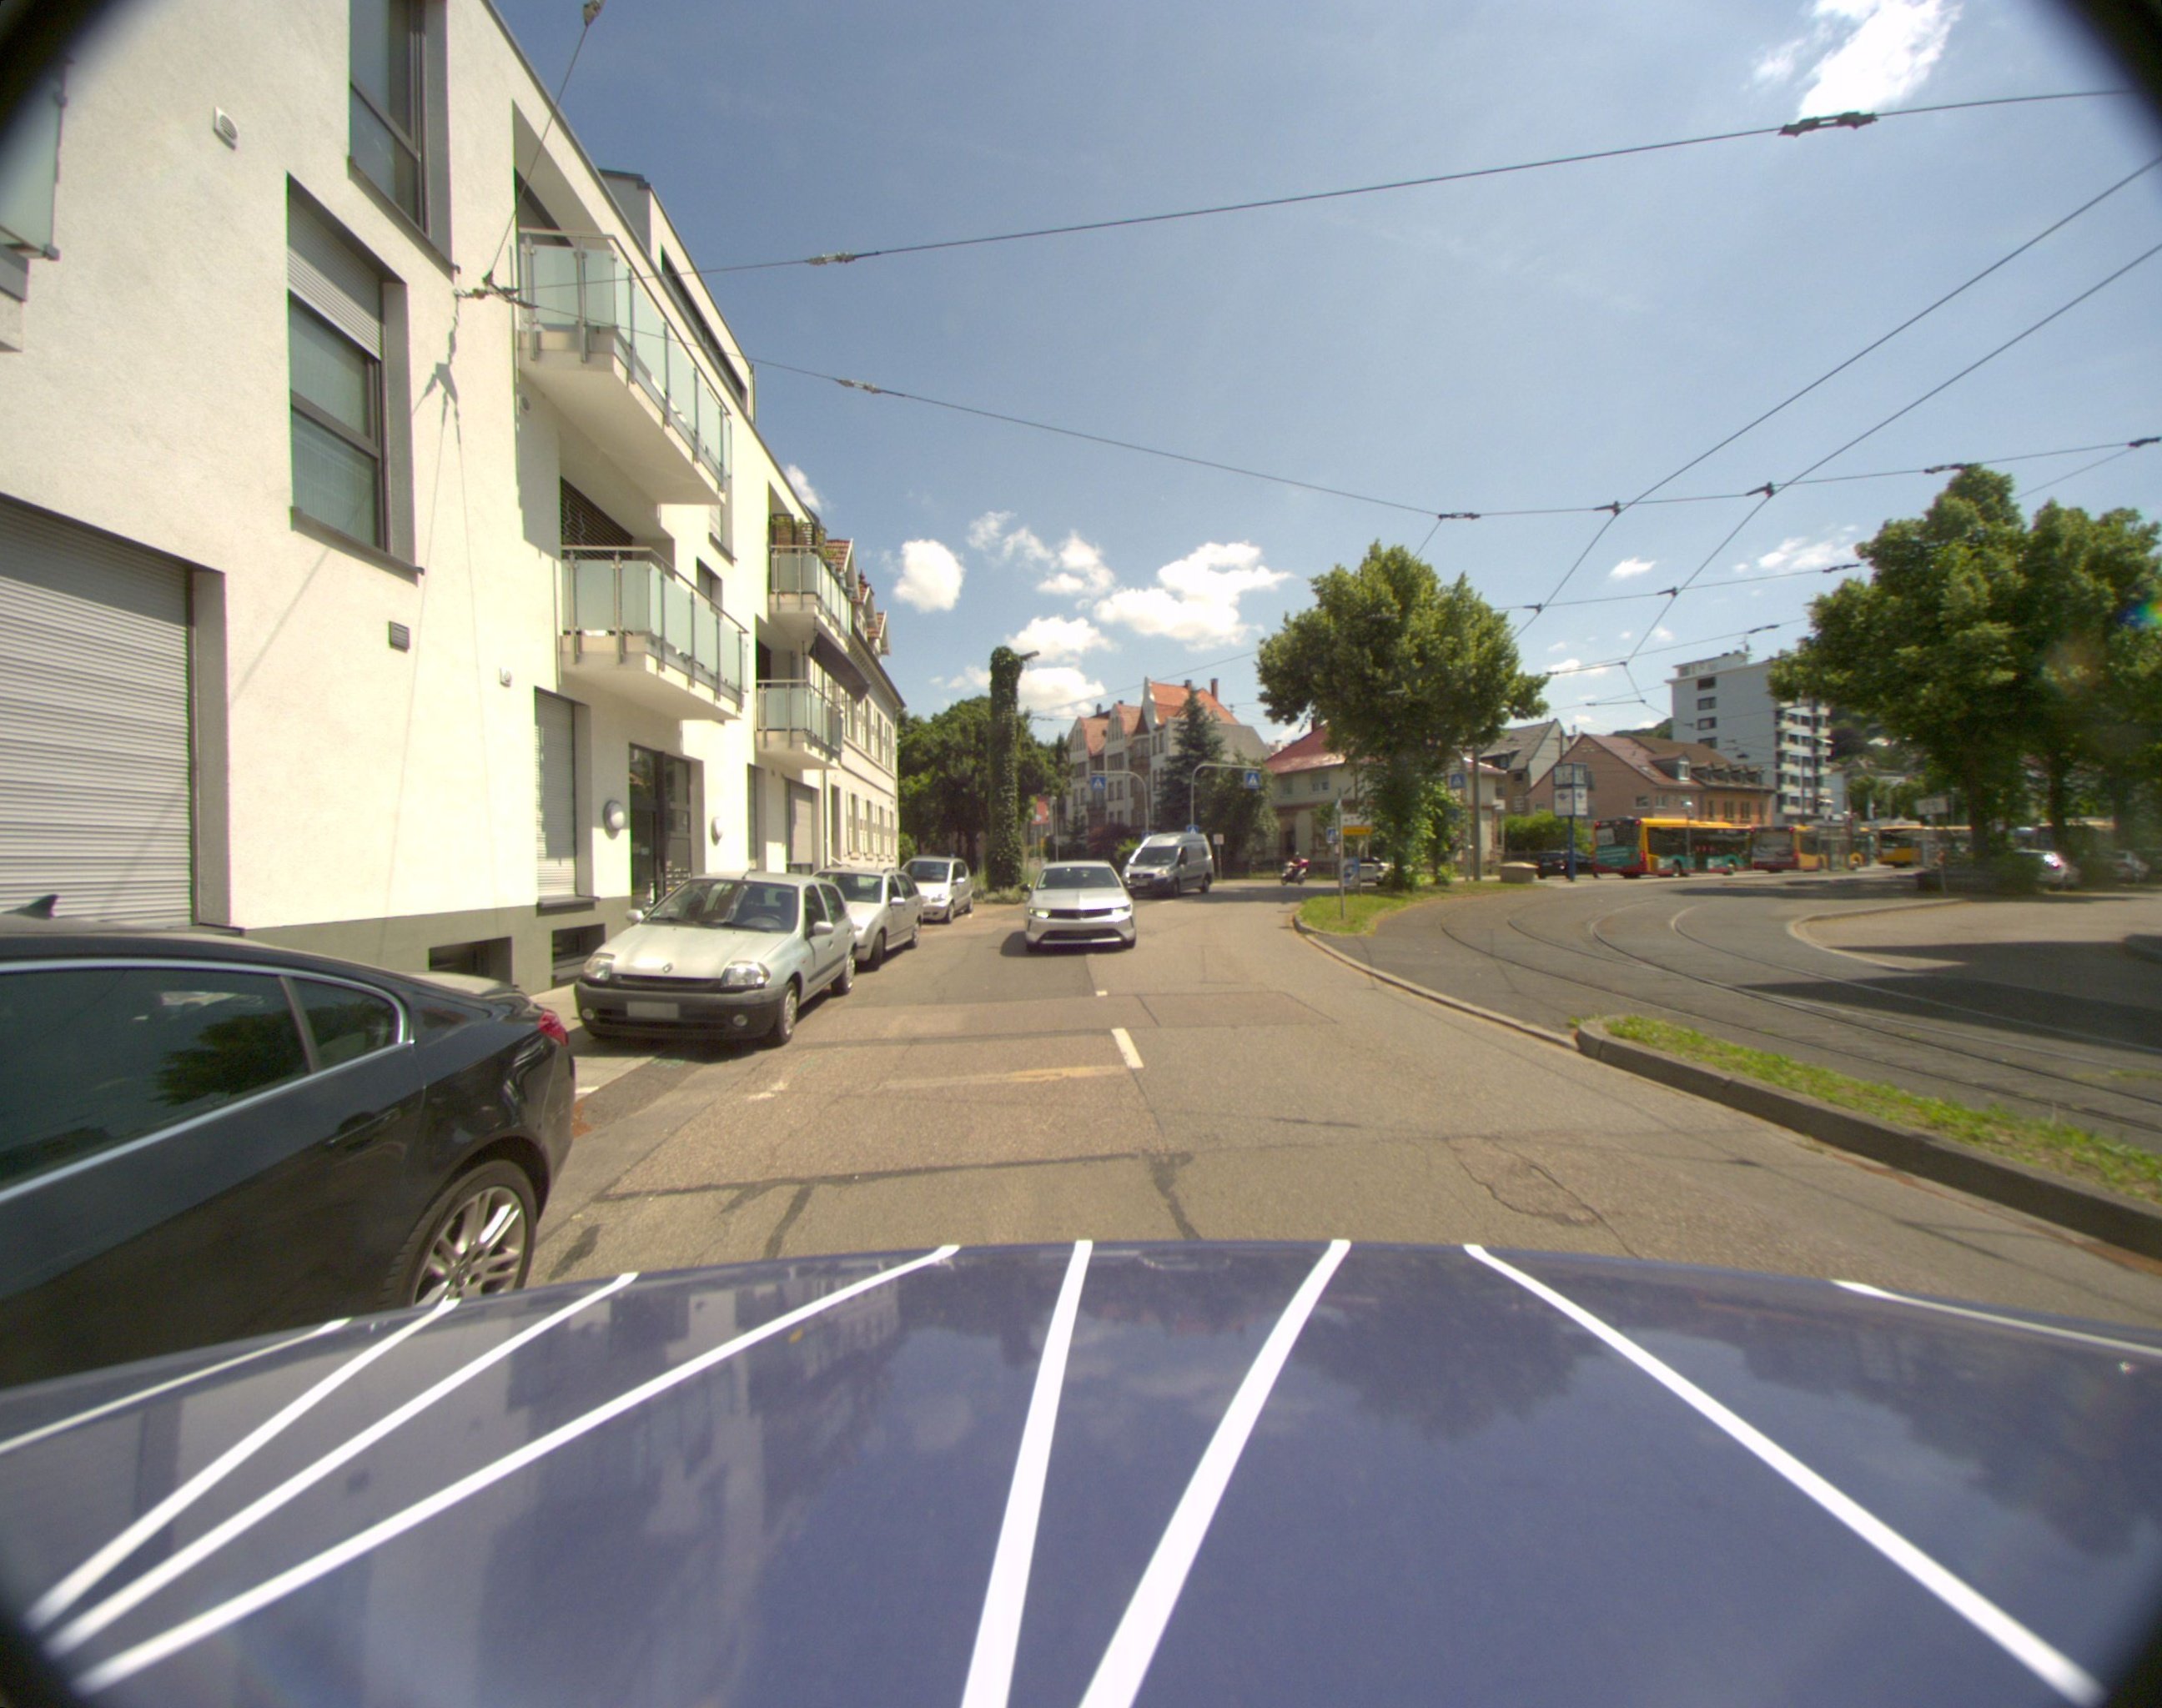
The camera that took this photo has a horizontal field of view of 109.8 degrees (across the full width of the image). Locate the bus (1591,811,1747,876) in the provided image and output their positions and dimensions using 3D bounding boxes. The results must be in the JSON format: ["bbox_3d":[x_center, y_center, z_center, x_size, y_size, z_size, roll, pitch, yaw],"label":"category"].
[{"bbox_3d":[32.439,-0.518,41.695,10.875,3.277,2.702,0,-1,-29],"label":"bus"}]

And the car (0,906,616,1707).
[{"bbox_3d":[-2.569,1.001,0.732,1.805,1.500,4.544,2,0,-6],"label":"car"}]

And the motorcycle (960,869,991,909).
[{"bbox_3d":[-3.881,1.264,28.227,0.802,1.344,2.338,-1,0,0],"label":"motorcycle"}]

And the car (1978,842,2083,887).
[{"bbox_3d":[34.402,0.356,27.517,3.962,1.473,1.840,-1,0,-30],"label":"car"}]

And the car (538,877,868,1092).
[{"bbox_3d":[-3.314,1.037,7.493,1.597,1.425,3.705,3,0,-5],"label":"car"}]

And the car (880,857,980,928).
[{"bbox_3d":[-3.885,0.933,20.145,1.731,1.601,3.800,1,1,2],"label":"car"}]

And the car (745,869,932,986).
[{"bbox_3d":[-3.690,1.042,12.349,1.731,1.425,4.042,3,0,-1],"label":"car"}]

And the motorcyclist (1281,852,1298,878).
[{"bbox_3d":[9.845,0.515,35.833,0.555,1.236,0.540,-1,0,-19],"label":"motorcyclist"}]

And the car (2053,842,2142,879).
[{"bbox_3d":[43.928,0.267,32.824,4.265,1.473,1.840,-1,0,-30],"label":"car"}]

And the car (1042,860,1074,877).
[{"bbox_3d":[-2.176,1.351,71.093,1.777,1.506,3.993,5,-2,-20],"label":"car"}]

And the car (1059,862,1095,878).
[{"bbox_3d":[-0.396,1.436,66.102,1.820,1.318,3.994,0,-2,-20],"label":"car"}]

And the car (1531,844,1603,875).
[{"bbox_3d":[27.443,0.309,42.857,4.336,1.622,1.857,0,-1,-34],"label":"car"}]

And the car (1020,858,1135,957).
[{"bbox_3d":[-0.078,0.864,14.186,1.801,1.458,4.170,-1,1,-1],"label":"car"}]

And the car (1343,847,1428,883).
[{"bbox_3d":[13.358,0.446,33.249,3.754,1.456,1.774,-1,2,-37],"label":"car"}]

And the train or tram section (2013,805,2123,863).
[{"bbox_3d":[66.480,-1.318,51.042,13.924,3.499,2.892,-1,0,-31],"label":"train or tram section"}]

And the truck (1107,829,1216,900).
[{"bbox_3d":[2.979,0.292,26.816,2.016,2.236,5.416,-2,0,26],"label":"truck"}]

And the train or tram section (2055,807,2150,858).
[{"bbox_3d":[78.394,-1.635,58.208,13.924,3.499,2.892,-1,0,-31],"label":"train or tram section"}]

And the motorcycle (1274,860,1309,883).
[{"bbox_3d":[9.930,0.803,35.880,1.437,1.051,0.668,-1,0,-18],"label":"motorcycle"}]

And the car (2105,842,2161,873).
[{"bbox_3d":[52.092,0.154,37.238,3.879,1.473,1.840,-1,0,-30],"label":"car"}]

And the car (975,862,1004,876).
[{"bbox_3d":[-10.882,1.747,89.732,1.778,1.382,3.865,5,-3,-33],"label":"car"}]

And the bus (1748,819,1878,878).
[{"bbox_3d":[48.910,-0.383,50.608,12.226,3.586,2.691,-1,0,-29],"label":"bus"}]

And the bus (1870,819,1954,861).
[{"bbox_3d":[67.110,-1.122,61.305,10.172,3.170,2.570,-1,0,-31],"label":"bus"}]
